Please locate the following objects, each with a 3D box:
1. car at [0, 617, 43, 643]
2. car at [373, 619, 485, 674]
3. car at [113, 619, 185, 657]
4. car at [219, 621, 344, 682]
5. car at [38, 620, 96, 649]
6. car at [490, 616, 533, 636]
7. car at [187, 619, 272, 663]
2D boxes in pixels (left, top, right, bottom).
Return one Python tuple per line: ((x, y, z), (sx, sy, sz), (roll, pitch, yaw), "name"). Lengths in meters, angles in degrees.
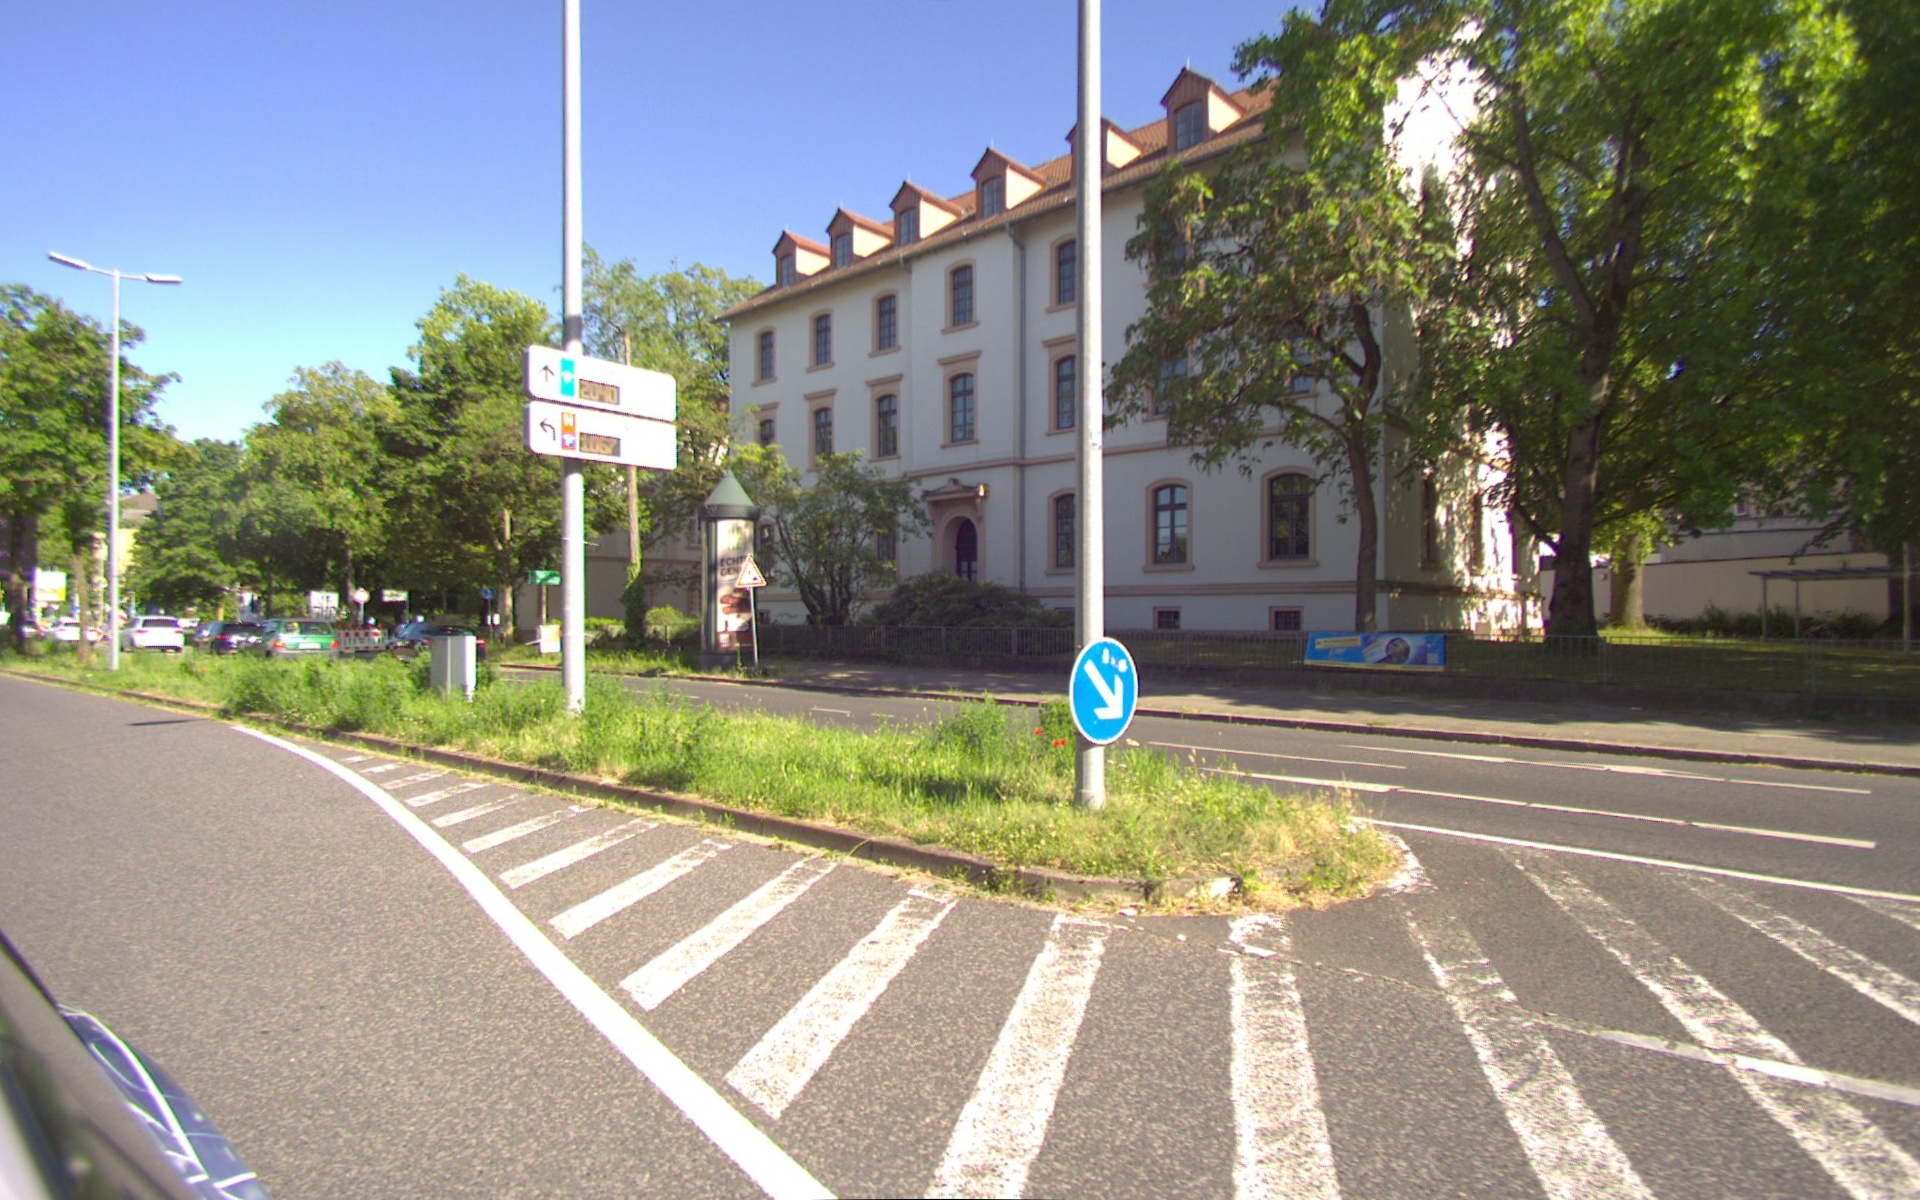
((-61.754, 1.923, 66.415), (4.254, 1.530, 1.778), (1, 1, 40), "car")
((-16.439, 1.362, 31.244), (4.424, 1.530, 1.776), (-1, 0, 44), "car")
((-36.265, 1.669, 45.197), (4.537, 1.638, 1.879), (-1, -2, 44), "car")
((-18.523, 1.358, 27.557), (4.253, 1.530, 1.622), (-1, -2, 39), "car")
((-49.595, 1.869, 56.171), (4.663, 1.530, 1.820), (-1, -1, 41), "car")
((-40.649, 2.337, 91.750), (4.681, 1.503, 1.626), (3, 2, 39), "car")
((-27.360, 1.514, 37.876), (4.087, 1.530, 1.776), (0, -2, 43), "car")
